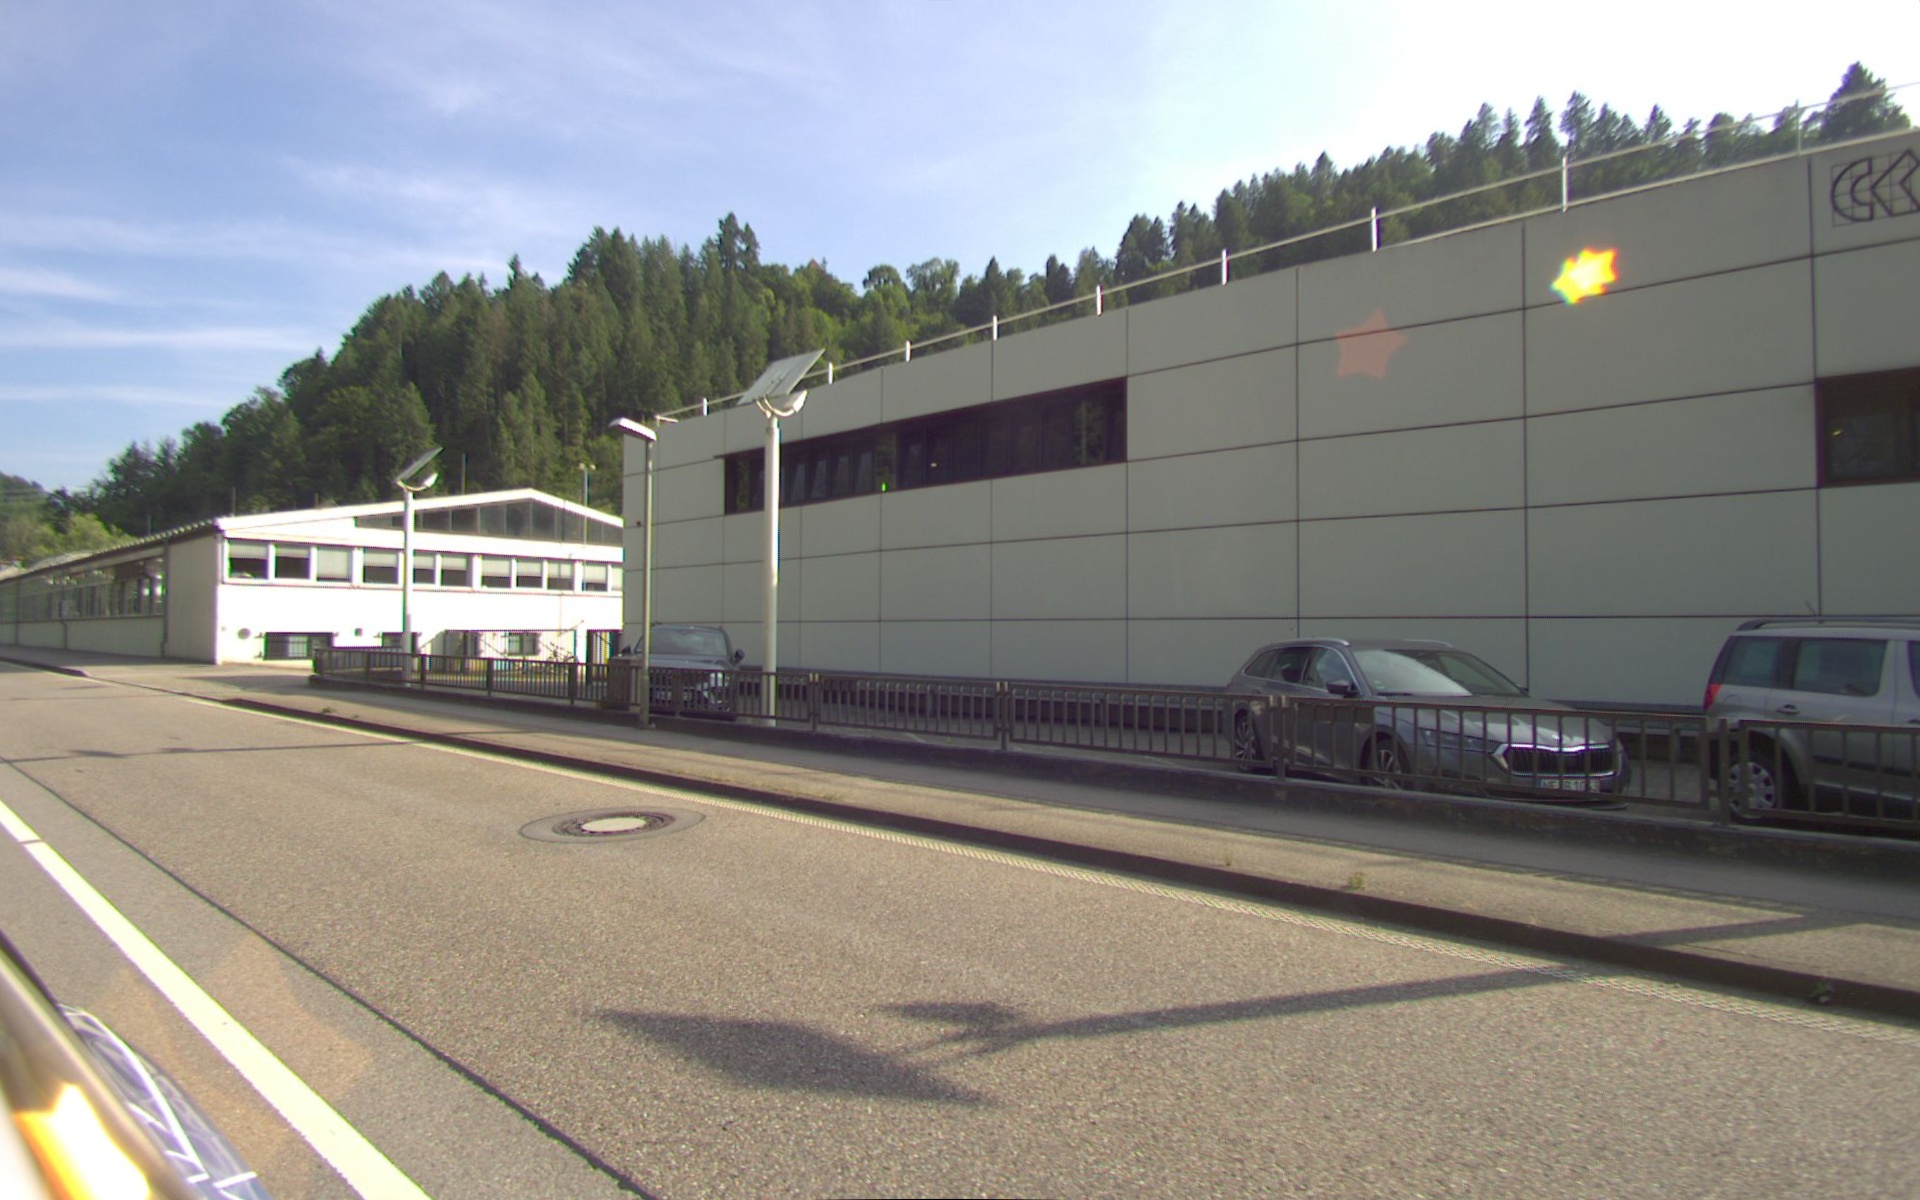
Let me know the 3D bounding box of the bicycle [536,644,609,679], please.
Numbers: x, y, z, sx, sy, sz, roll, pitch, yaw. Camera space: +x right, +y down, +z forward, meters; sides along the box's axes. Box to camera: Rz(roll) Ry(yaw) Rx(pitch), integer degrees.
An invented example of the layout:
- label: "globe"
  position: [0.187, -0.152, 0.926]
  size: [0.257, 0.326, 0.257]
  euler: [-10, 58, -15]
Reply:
- label: "bicycle"
  position: [-14.985, 2.394, 39.215]
  size: [1.039, 1.270, 2.471]
  euler: [-1, -4, 32]

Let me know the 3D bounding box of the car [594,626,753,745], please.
- label: "car"
  position: [-4.380, 1.229, 16.087]
  size: [1.859, 1.604, 4.182]
  euler: [0, -1, -8]

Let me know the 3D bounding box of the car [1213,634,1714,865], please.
- label: "car"
  position: [4.071, 1.099, 9.239]
  size: [1.859, 1.506, 4.496]
  euler: [0, -1, -8]

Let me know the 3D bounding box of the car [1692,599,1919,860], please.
- label: "car"
  position: [7.252, 0.848, 6.479]
  size: [1.753, 1.721, 4.117]
  euler: [0, -1, -8]
